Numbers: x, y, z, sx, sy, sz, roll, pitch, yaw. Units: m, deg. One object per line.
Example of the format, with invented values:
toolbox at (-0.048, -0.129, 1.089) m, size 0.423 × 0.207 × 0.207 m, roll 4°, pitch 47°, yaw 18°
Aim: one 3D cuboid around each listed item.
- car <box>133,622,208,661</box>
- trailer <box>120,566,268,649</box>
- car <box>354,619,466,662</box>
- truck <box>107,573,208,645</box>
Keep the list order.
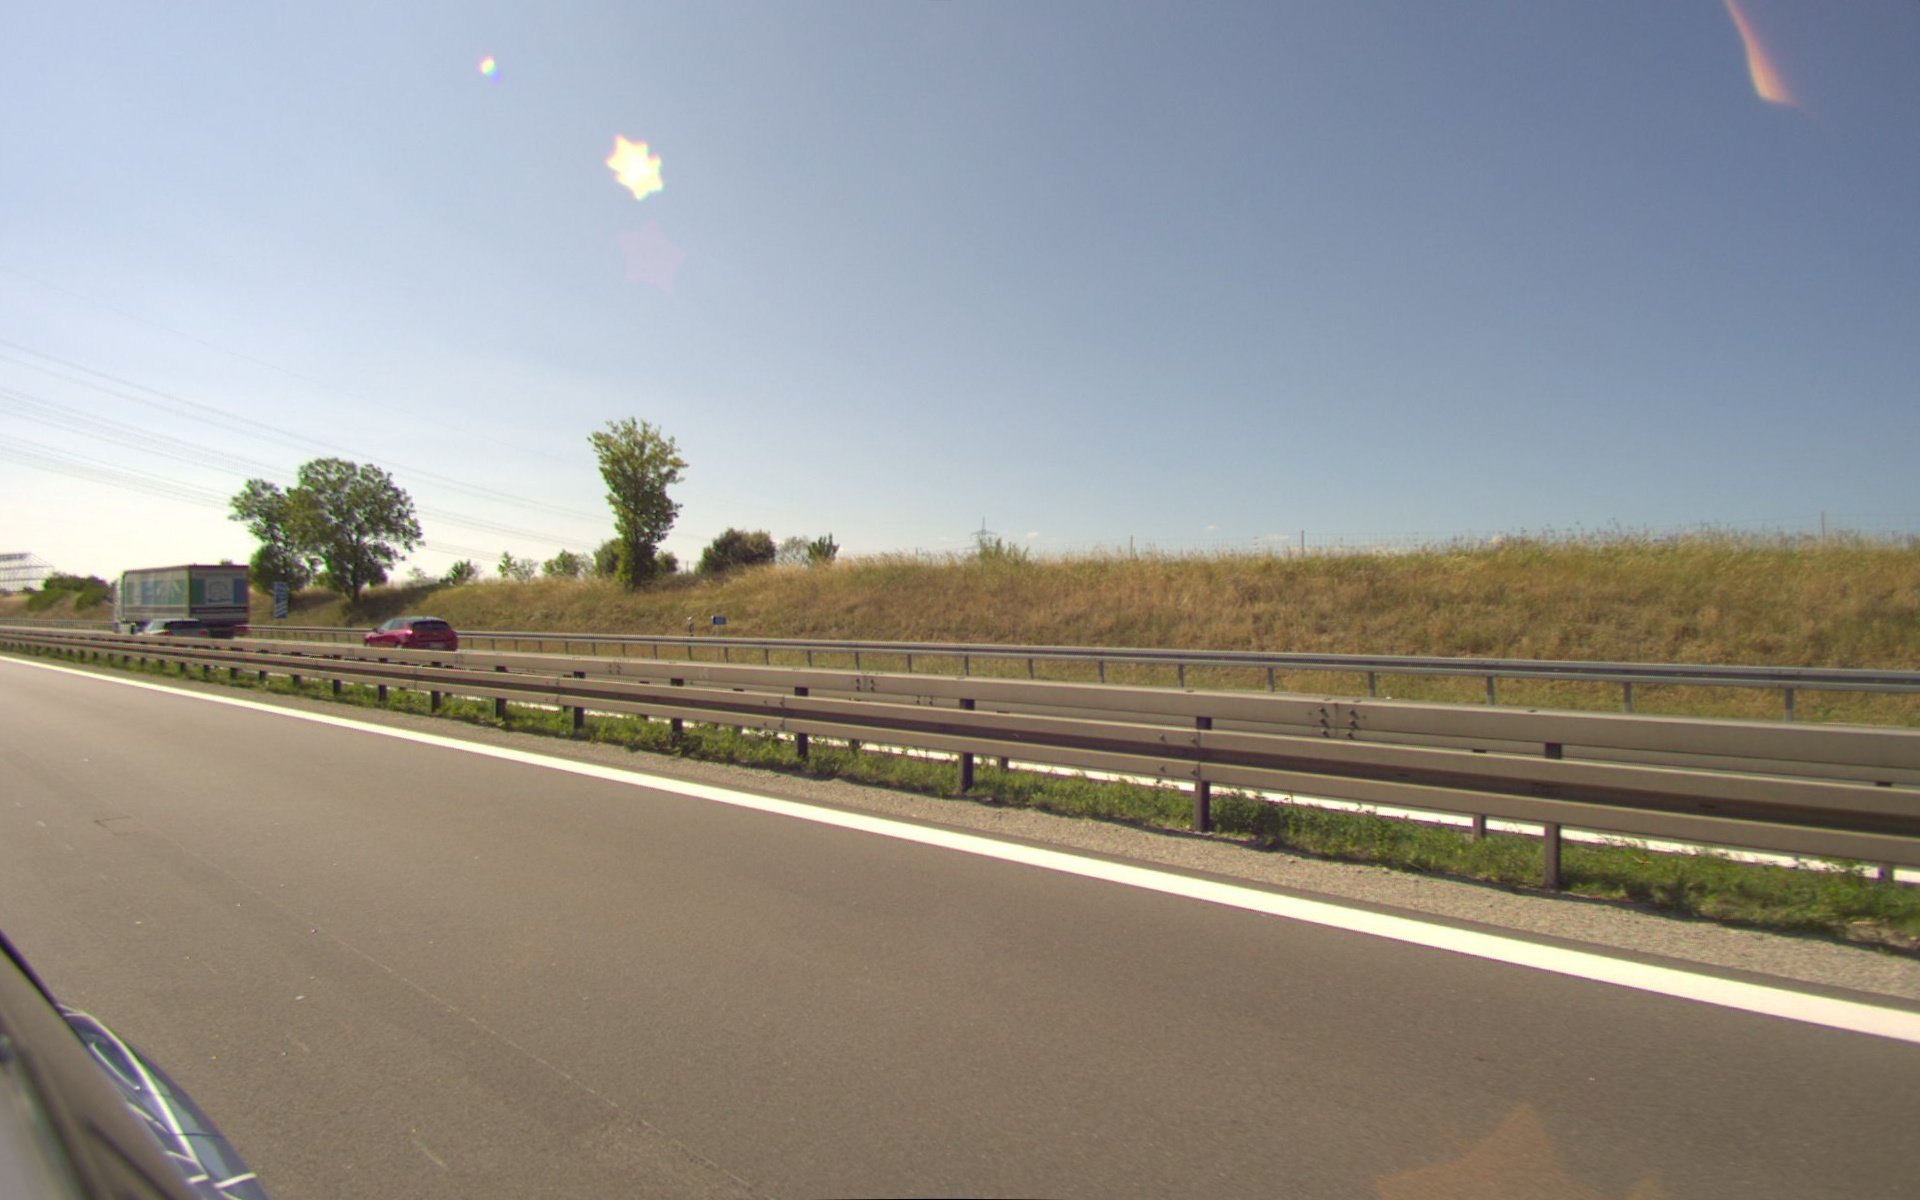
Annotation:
car at (-31.049, 1.602, 39.750) m, size 3.924 × 1.441 × 1.569 m, roll -1°, pitch -1°, yaw 41°
trailer at (-42.011, 0.485, 55.199) m, size 14.038 × 4.029 × 3.577 m, roll -1°, pitch -1°, yaw 41°
car at (-18.899, 1.340, 34.695) m, size 4.551 × 1.370 × 1.886 m, roll -1°, pitch -1°, yaw 41°
truck at (-47.366, 0.549, 59.702) m, size 6.119 × 4.029 × 3.577 m, roll -1°, pitch -1°, yaw 40°
